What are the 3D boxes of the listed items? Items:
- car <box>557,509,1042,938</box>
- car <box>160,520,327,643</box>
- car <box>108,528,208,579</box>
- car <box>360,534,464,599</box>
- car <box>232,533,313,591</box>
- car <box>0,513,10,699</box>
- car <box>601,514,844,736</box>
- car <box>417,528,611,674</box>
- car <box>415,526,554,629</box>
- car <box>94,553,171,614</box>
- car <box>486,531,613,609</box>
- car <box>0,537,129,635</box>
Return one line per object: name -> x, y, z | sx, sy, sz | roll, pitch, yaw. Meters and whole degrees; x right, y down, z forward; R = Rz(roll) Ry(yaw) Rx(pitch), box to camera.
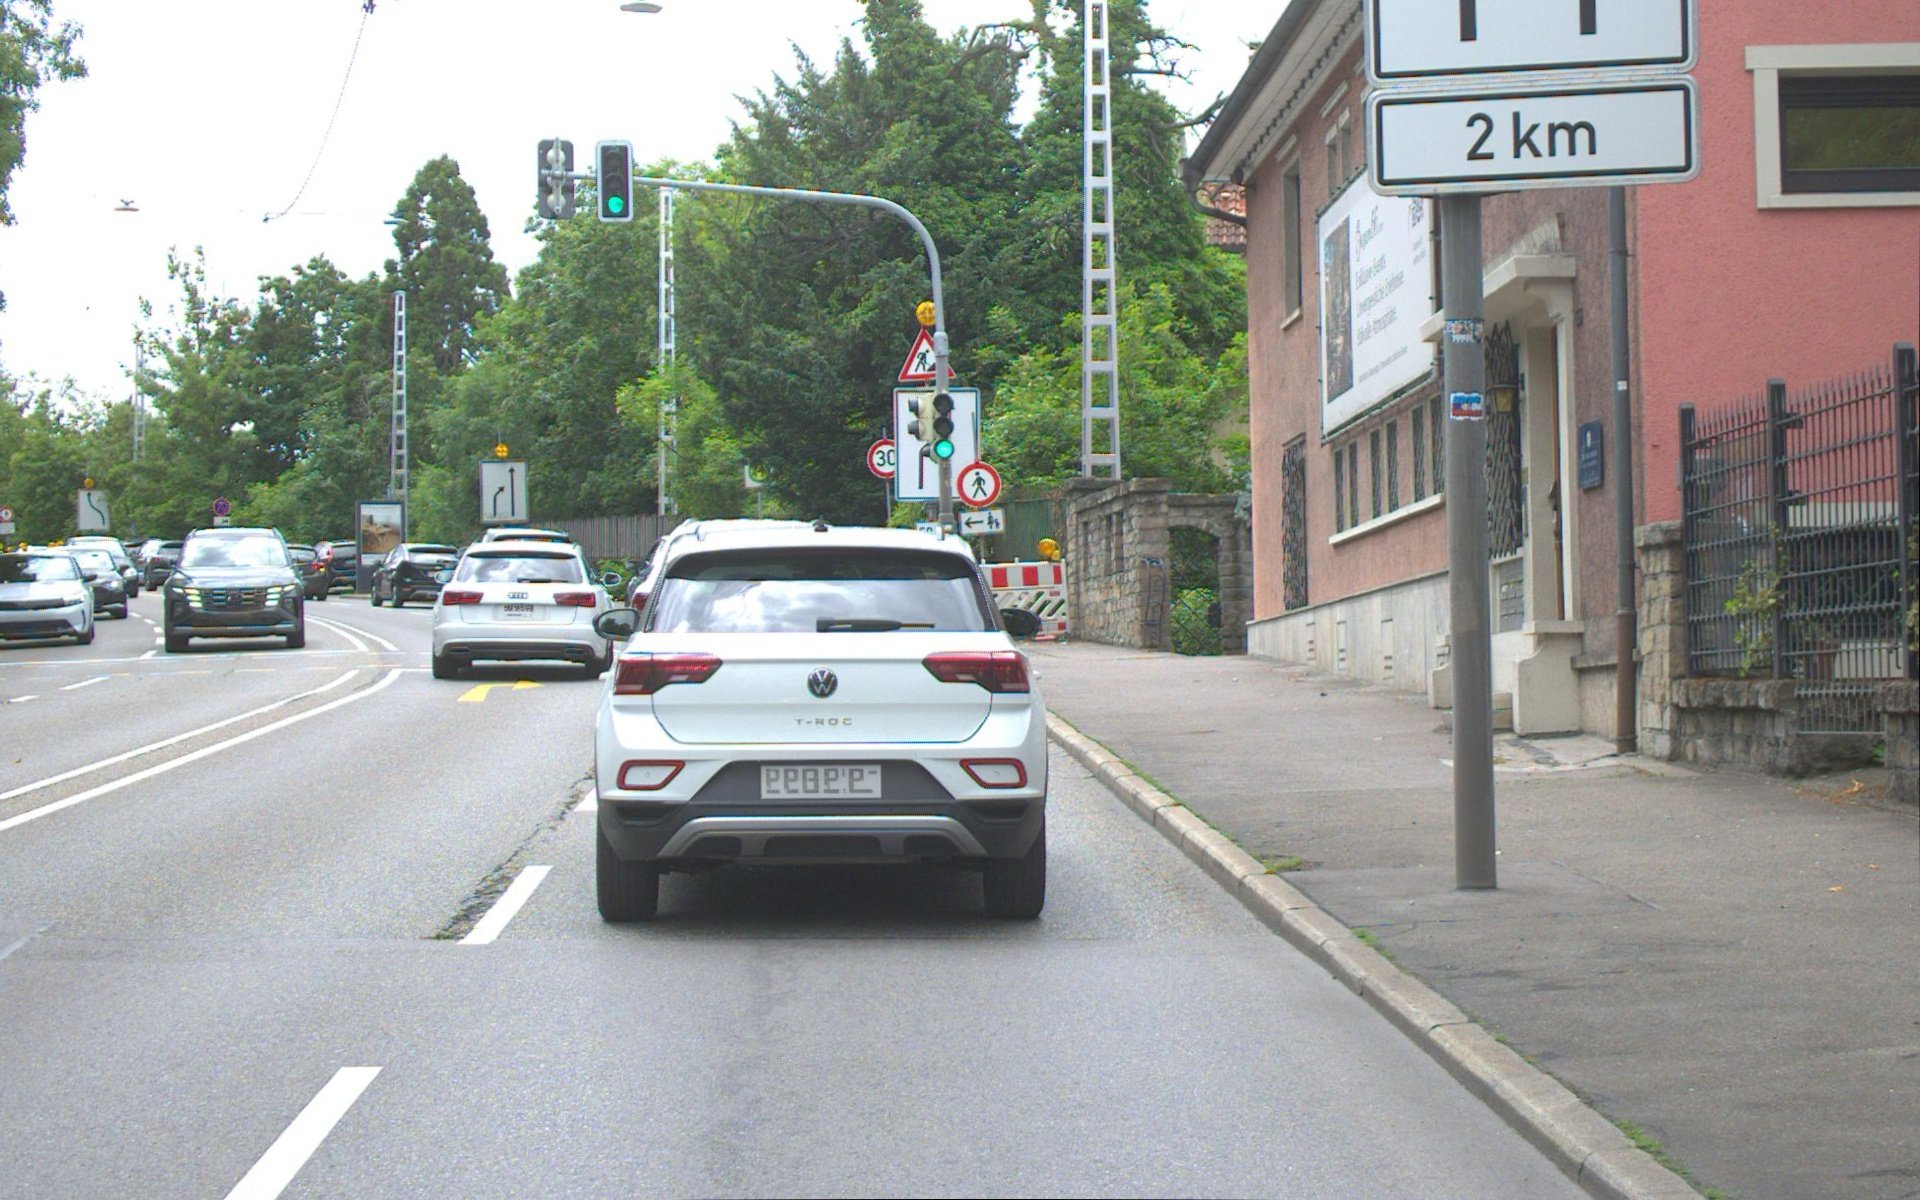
car -> -0.665, 0.454, 14.593 | 1.757, 1.550, 3.796 | 1, 0, -2
car -> -9.883, -0.288, 47.703 | 1.848, 1.626, 4.362 | 0, 1, -6
car -> -25.717, -1.475, 110.140 | 1.993, 1.570, 4.150 | 0, 0, -30
car -> -12.552, -0.751, 78.576 | 1.993, 1.445, 4.152 | 0, 0, -14
car -> -17.676, -0.968, 88.273 | 1.780, 1.449, 4.001 | 0, 0, -15
car -> -10.240, 0.028, 31.984 | 1.892, 1.842, 4.397 | 3, 0, -6
car -> -1.821, 0.182, 27.354 | 1.757, 1.604, 3.796 | 1, 0, -2
car -> -4.886, 0.004, 37.290 | 1.757, 1.466, 3.796 | 1, 0, -12
car -> -7.543, -0.375, 54.854 | 1.993, 1.551, 4.151 | 1, 1, -5
car -> -21.775, -0.442, 90.353 | 1.754, 1.561, 3.680 | 0, 1, -17
car -> -7.924, -0.562, 66.095 | 1.993, 1.445, 4.152 | 0, 0, -13
car -> -13.916, -0.232, 52.475 | 1.715, 1.398, 4.024 | -1, 1, -4
